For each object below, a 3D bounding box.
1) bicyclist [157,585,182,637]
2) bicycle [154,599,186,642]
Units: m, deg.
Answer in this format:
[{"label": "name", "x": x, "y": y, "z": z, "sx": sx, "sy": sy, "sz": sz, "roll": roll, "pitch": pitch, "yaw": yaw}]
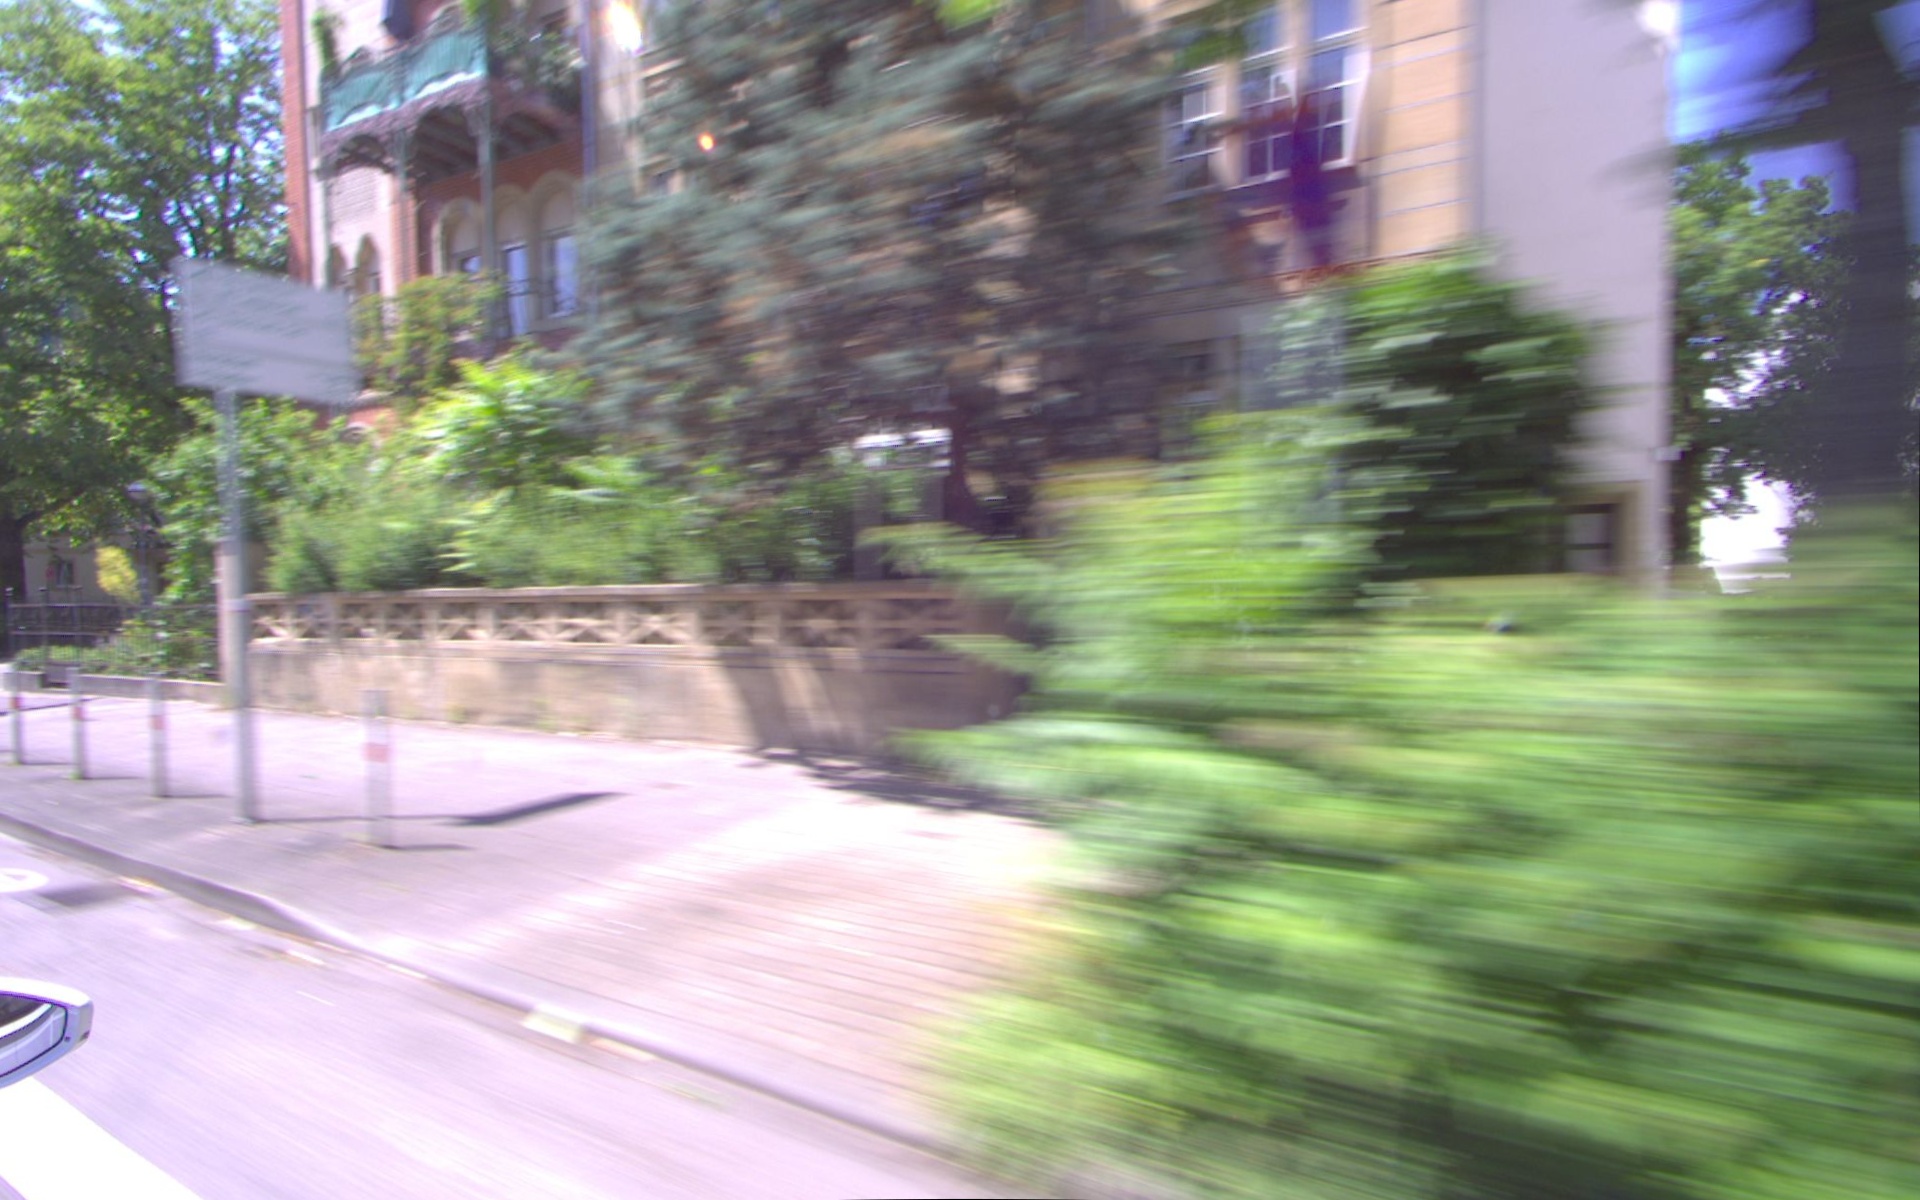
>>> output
[{"label": "bicyclist", "x": -28.484, "y": 0.393, "z": 36.073, "sx": 0.528, "sy": 1.823, "sz": 0.598, "roll": 0, "pitch": 1, "yaw": 42}, {"label": "bicycle", "x": -28.509, "y": 0.736, "z": 36.114, "sx": 2.145, "sy": 1.505, "sz": 0.588, "roll": -1, "pitch": 0, "yaw": 43}]
